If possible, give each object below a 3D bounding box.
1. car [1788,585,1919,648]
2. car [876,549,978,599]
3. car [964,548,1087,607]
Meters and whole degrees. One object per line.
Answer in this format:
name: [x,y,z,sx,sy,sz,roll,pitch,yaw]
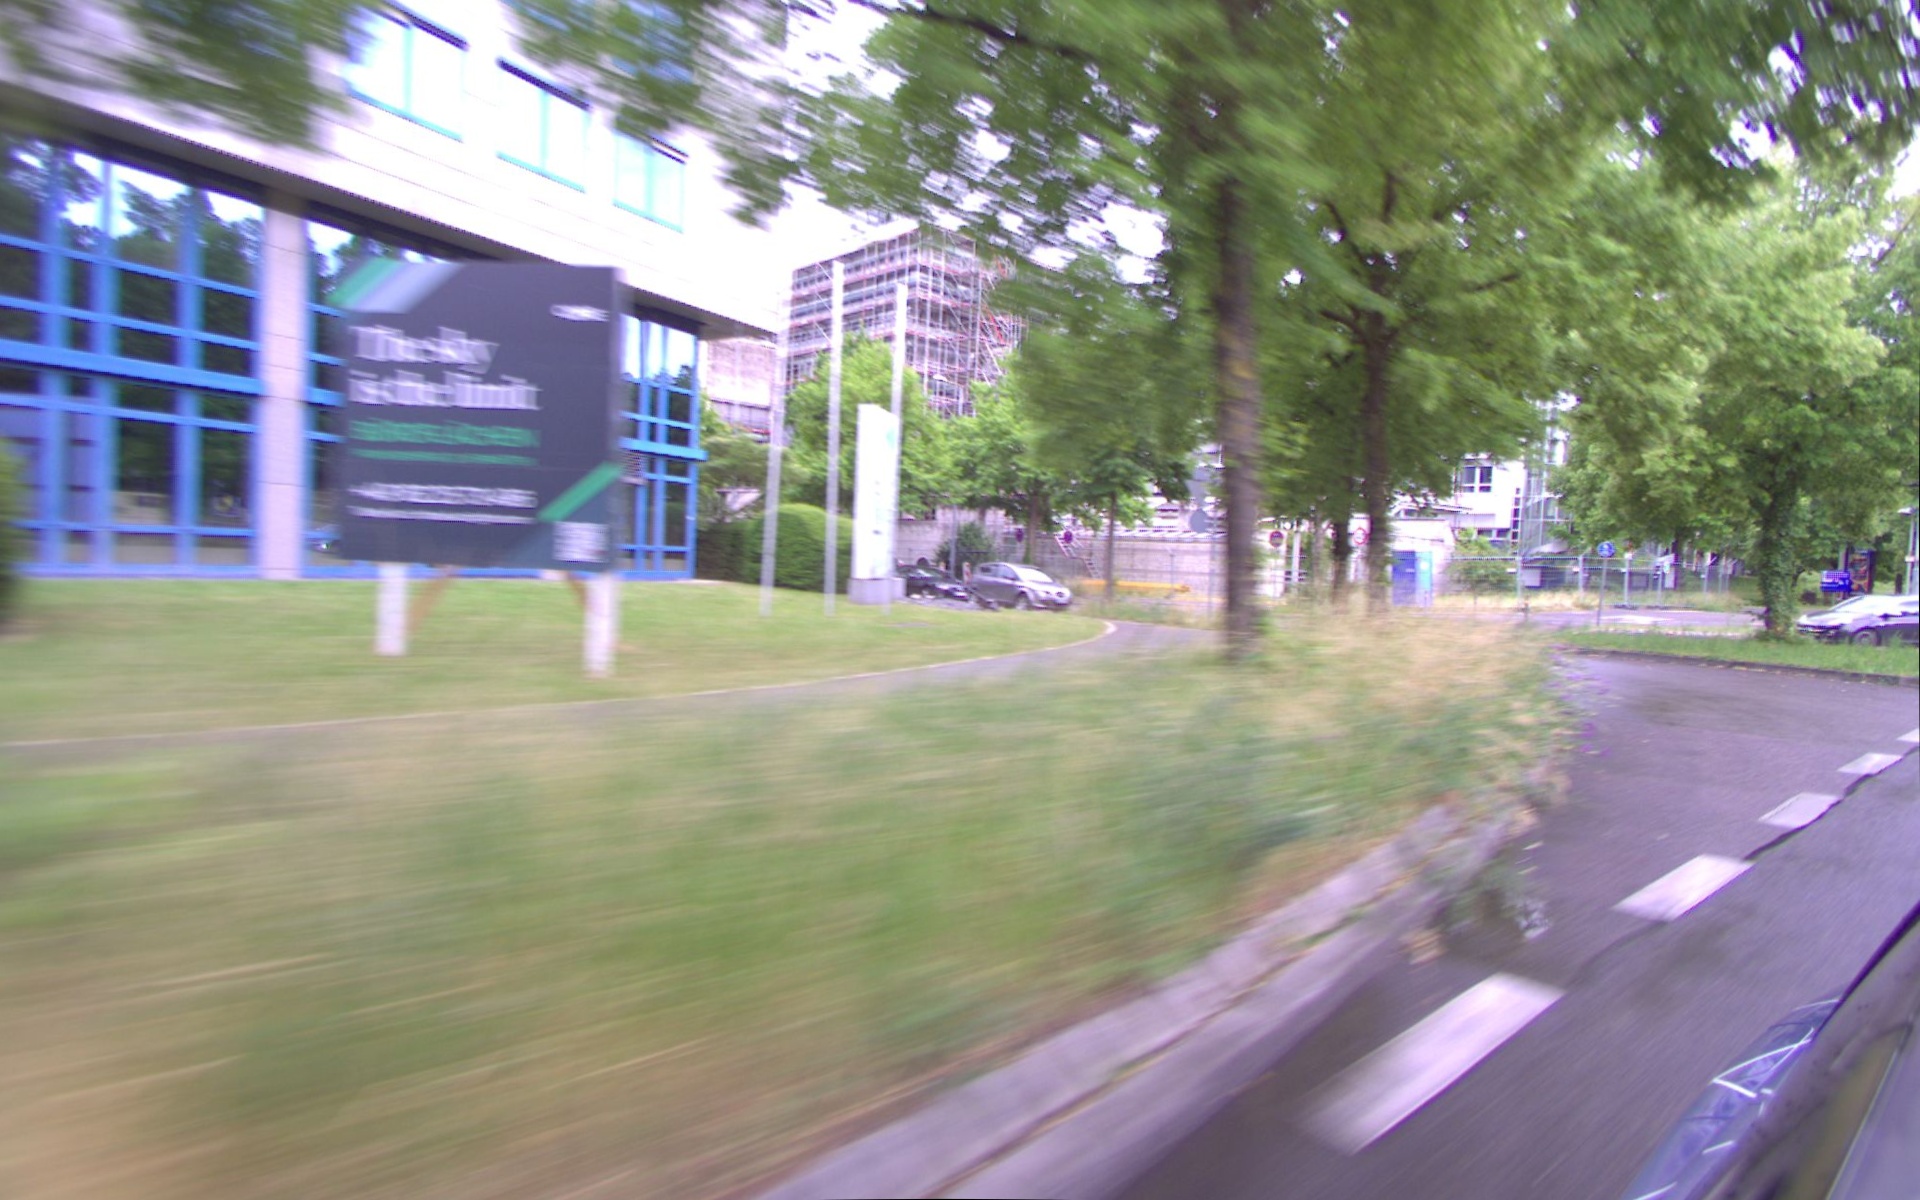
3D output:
car: [23.801,0.433,25.379,4.355,1.451,1.708,2,2,9]
car: [-1.268,-0.974,36.728,1.723,1.598,4.113,3,2,-34]
car: [2.037,-0.755,32.591,1.723,1.662,4.113,3,1,-34]
